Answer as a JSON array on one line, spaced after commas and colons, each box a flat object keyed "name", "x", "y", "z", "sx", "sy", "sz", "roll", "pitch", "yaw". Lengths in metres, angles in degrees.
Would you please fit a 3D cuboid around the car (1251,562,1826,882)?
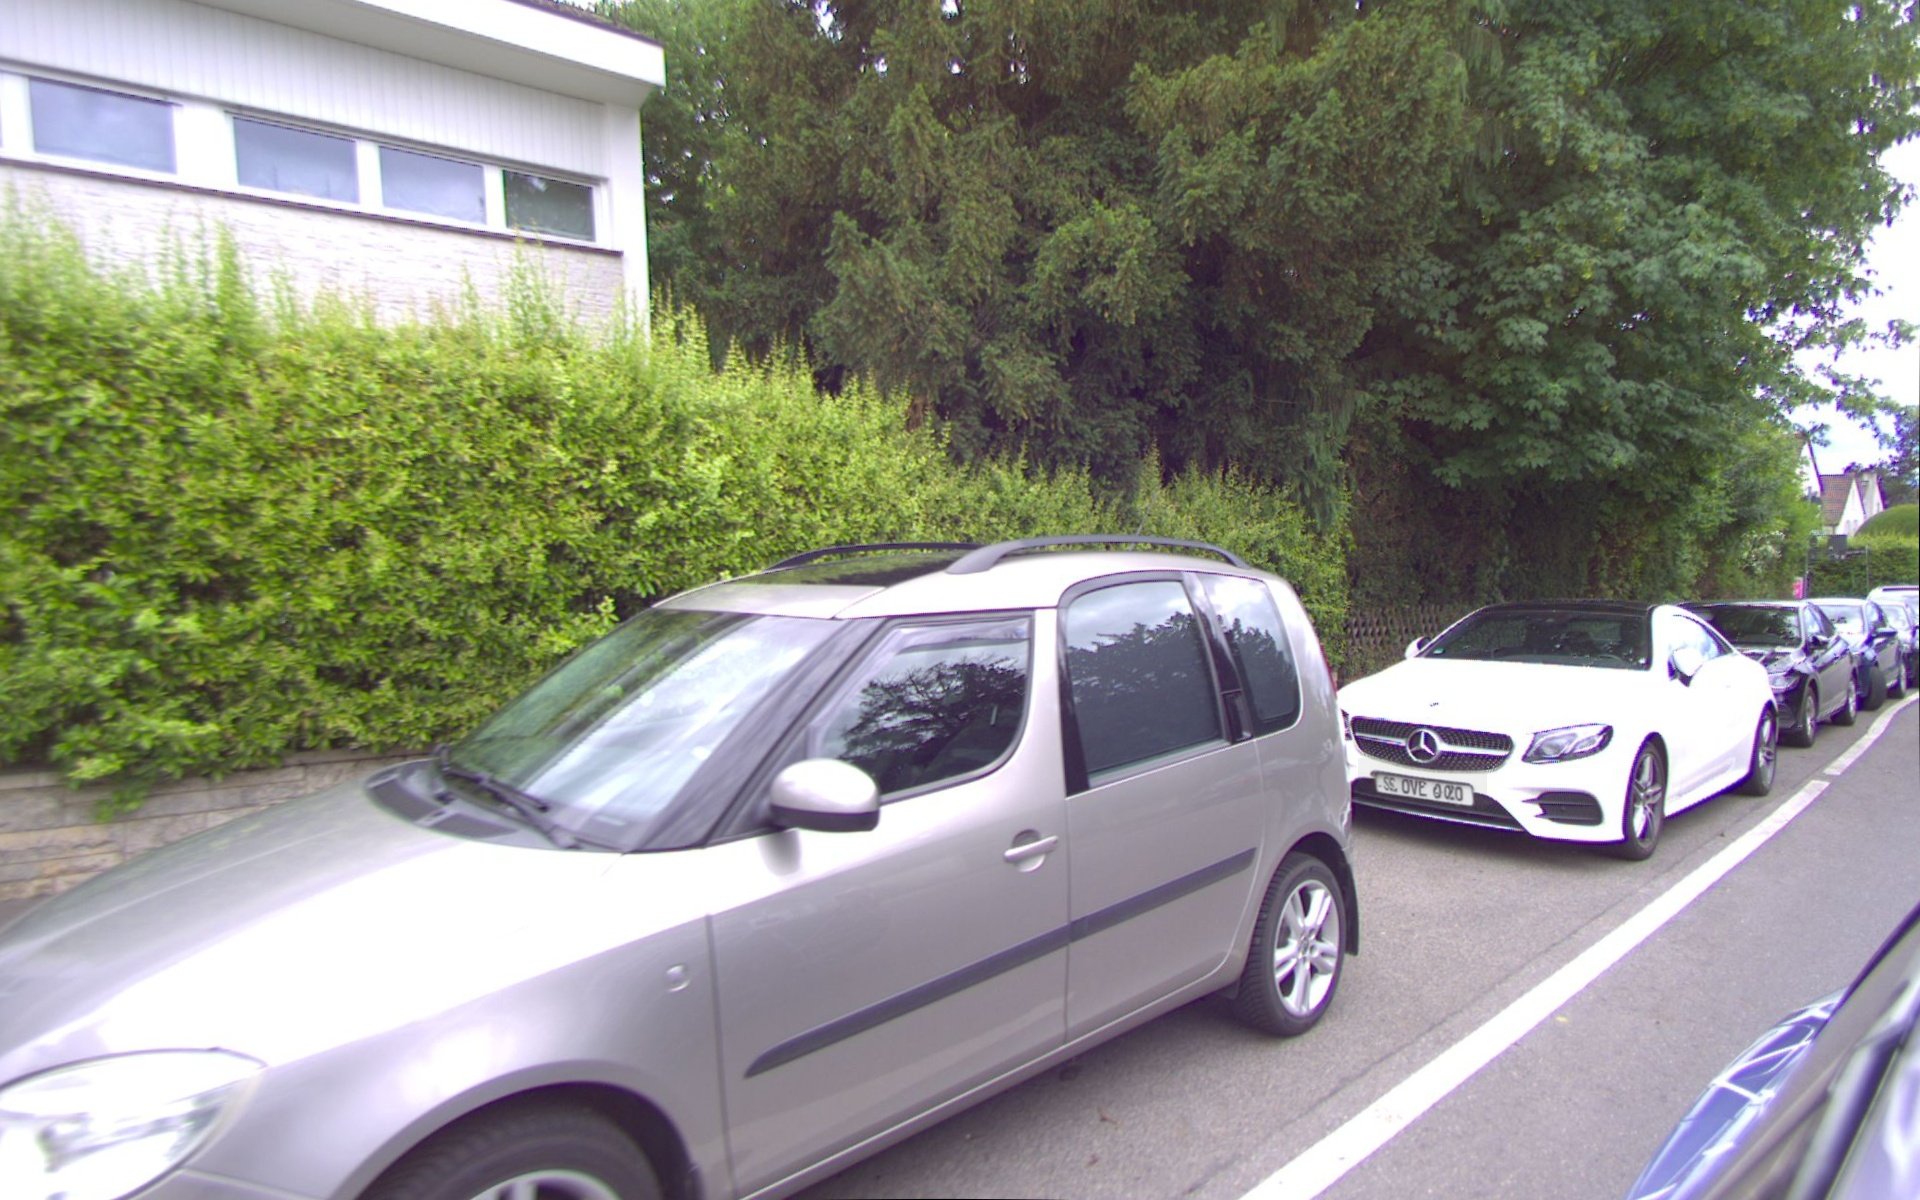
[{"name": "car", "x": 4.381, "y": 0.549, "z": 7.266, "sx": 4.916, "sy": 1.510, "sz": 1.998, "roll": 0, "pitch": 3, "yaw": -40}]

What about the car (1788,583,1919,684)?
[{"name": "car", "x": 15.871, "y": 0.486, "z": 17.649, "sx": 1.811, "sy": 1.470, "sz": 4.309, "roll": 3, "pitch": 3, "yaw": 44}]

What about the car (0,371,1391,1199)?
[{"name": "car", "x": -0.483, "y": 0.521, "z": 2.966, "sx": 3.860, "sy": 1.653, "sz": 1.720, "roll": -1, "pitch": 1, "yaw": -41}]

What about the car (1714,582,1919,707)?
[{"name": "car", "x": 12.261, "y": 0.525, "z": 14.348, "sx": 4.087, "sy": 1.527, "sz": 1.700, "roll": -1, "pitch": 0, "yaw": -41}]

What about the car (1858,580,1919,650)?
[{"name": "car", "x": 22.900, "y": 0.325, "z": 23.966, "sx": 4.380, "sy": 1.510, "sz": 1.941, "roll": -1, "pitch": 3, "yaw": -42}]

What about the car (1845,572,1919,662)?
[{"name": "car", "x": 19.459, "y": 0.308, "z": 20.512, "sx": 2.002, "sy": 1.628, "sz": 4.683, "roll": 4, "pitch": 3, "yaw": 44}]
